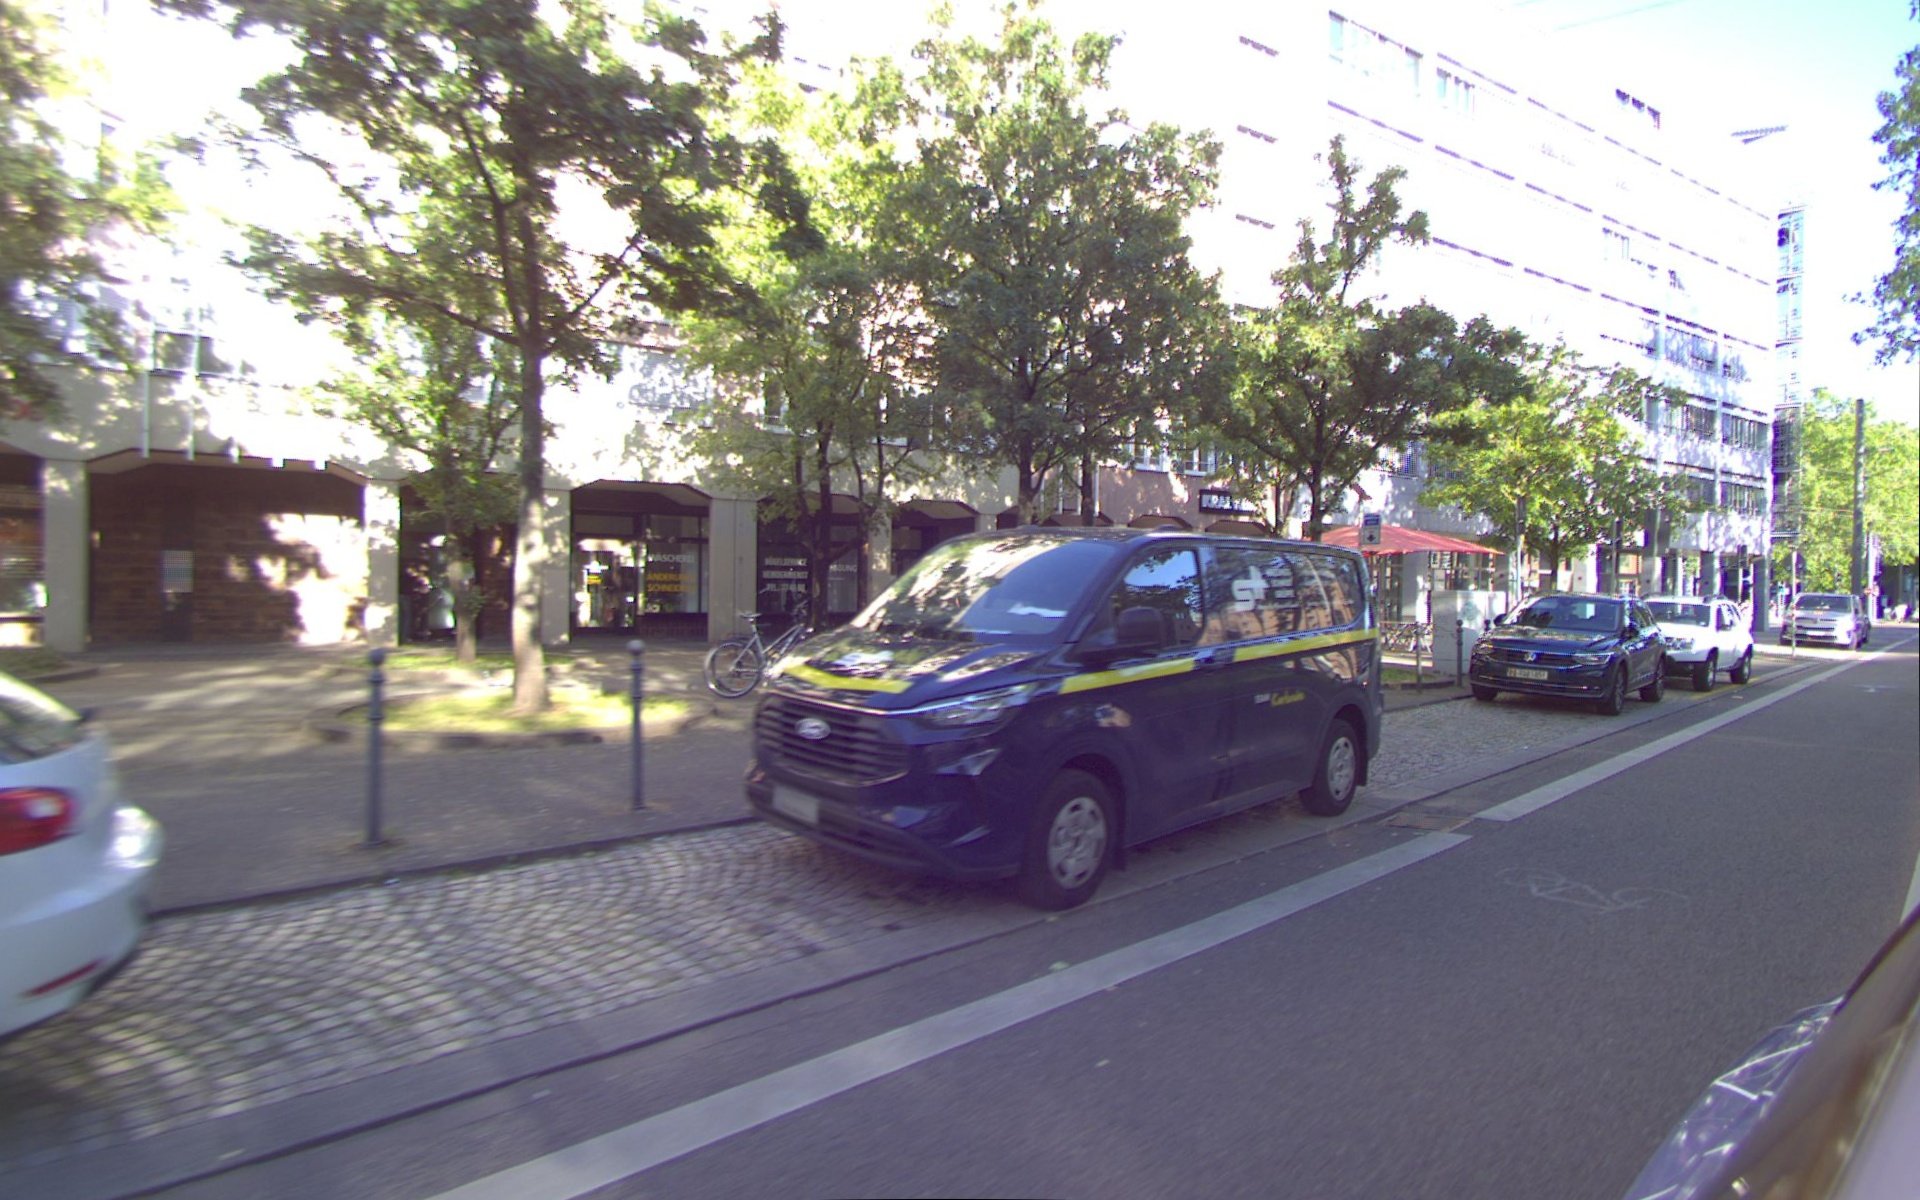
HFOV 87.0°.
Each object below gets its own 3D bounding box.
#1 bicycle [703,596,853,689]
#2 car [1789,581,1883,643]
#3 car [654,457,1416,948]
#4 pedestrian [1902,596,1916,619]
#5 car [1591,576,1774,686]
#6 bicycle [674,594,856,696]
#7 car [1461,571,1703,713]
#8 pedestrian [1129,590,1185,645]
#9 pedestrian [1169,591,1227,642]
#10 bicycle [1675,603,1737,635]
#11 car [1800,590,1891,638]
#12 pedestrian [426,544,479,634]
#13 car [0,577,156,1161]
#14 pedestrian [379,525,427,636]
[{"bbox_3d":[-2.375,0.541,13.208,1.872,1.169,0.486,1,0,-15],"label":"bicycle"},{"bbox_3d":[30.389,0.384,35.055,4.779,1.928,1.920,0,2,-43],"label":"car"},{"bbox_3d":[0.879,0.367,6.577,5.112,1.967,2.040,0,3,-45],"label":"car"},{"bbox_3d":[86.666,0.656,92.396,0.644,2.039,0.646,1,0,4],"label":"pedestrian"},{"bbox_3d":[13.457,0.495,18.751,4.383,1.745,1.801,0,2,-42],"label":"car"},{"bbox_3d":[-2.412,0.539,12.500,2.138,1.202,0.657,1,0,-15],"label":"bicycle"},{"bbox_3d":[9.278,0.517,14.932,4.496,1.745,1.801,0,2,-42],"label":"car"},{"bbox_3d":[4.760,0.408,24.425,0.951,1.266,0.931,1,0,-39],"label":"pedestrian"},{"bbox_3d":[5.928,0.400,25.226,1.102,1.228,0.889,0,0,-33],"label":"pedestrian"},{"bbox_3d":[27.788,0.687,37.706,0.655,1.120,1.774,1,1,-43],"label":"bicycle"},{"bbox_3d":[34.209,0.523,39.069,3.944,1.661,1.922,1,2,-39],"label":"car"},{"bbox_3d":[-10.973,-0.235,21.896,0.874,1.895,0.727,1,0,-15],"label":"pedestrian"},{"bbox_3d":[-4.360,0.681,2.182,4.100,1.483,1.706,0,2,-39],"label":"car"},{"bbox_3d":[-11.625,-0.401,21.136,0.787,2.276,0.727,1,0,-23],"label":"pedestrian"}]
